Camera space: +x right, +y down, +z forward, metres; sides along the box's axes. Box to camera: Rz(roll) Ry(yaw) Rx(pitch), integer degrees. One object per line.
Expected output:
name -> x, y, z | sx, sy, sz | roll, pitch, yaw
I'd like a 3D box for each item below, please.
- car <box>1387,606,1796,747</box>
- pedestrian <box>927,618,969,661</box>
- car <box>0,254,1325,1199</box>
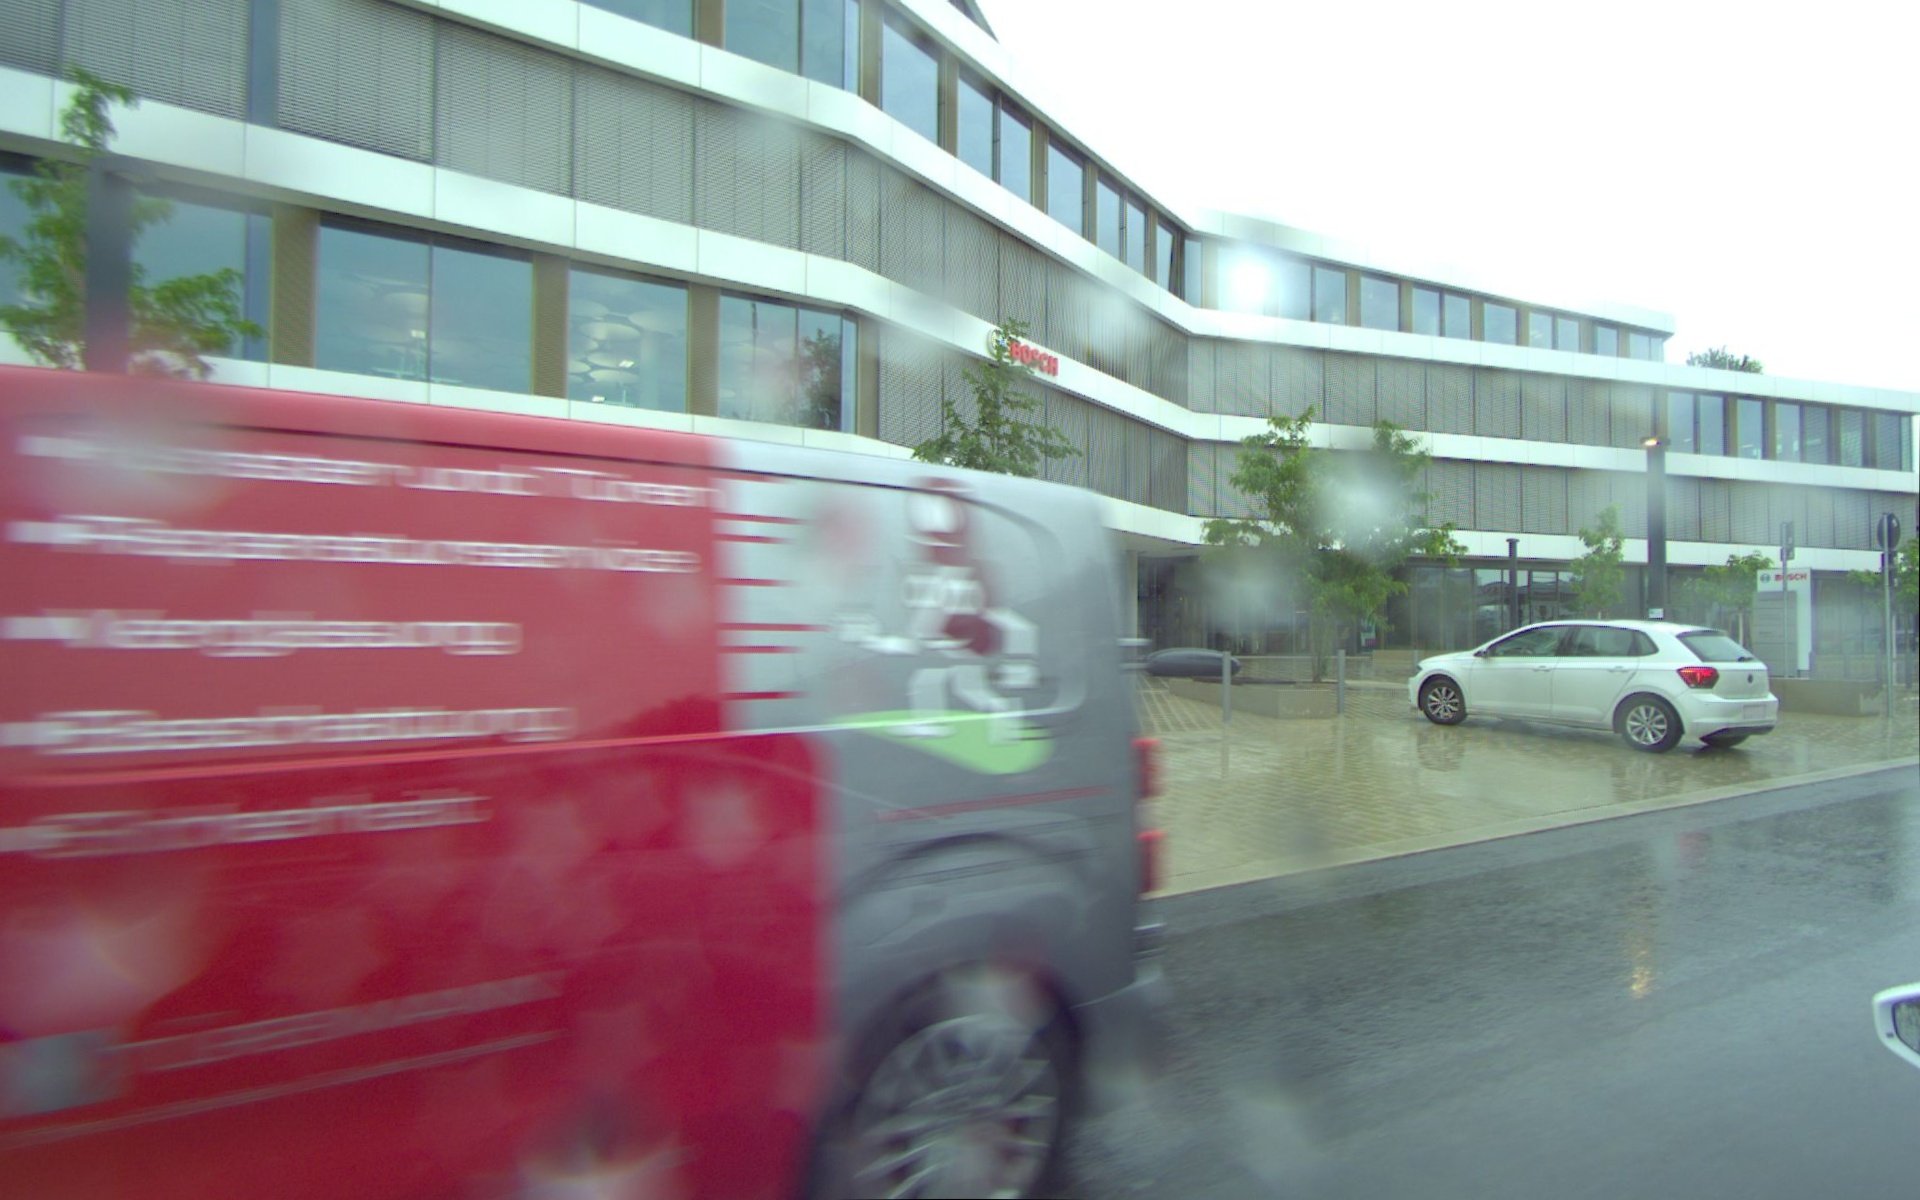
car -> 7.606, 0.851, 12.500 | 1.875, 1.442, 3.911 | 1, -2, -29
pedestrian -> -0.377, 1.279, 32.751 | 0.883, 1.332, 1.059 | 4, 1, 33
car -> -1.678, 0.513, 2.116 | 4.923, 1.842, 1.993 | 1, -2, -32
